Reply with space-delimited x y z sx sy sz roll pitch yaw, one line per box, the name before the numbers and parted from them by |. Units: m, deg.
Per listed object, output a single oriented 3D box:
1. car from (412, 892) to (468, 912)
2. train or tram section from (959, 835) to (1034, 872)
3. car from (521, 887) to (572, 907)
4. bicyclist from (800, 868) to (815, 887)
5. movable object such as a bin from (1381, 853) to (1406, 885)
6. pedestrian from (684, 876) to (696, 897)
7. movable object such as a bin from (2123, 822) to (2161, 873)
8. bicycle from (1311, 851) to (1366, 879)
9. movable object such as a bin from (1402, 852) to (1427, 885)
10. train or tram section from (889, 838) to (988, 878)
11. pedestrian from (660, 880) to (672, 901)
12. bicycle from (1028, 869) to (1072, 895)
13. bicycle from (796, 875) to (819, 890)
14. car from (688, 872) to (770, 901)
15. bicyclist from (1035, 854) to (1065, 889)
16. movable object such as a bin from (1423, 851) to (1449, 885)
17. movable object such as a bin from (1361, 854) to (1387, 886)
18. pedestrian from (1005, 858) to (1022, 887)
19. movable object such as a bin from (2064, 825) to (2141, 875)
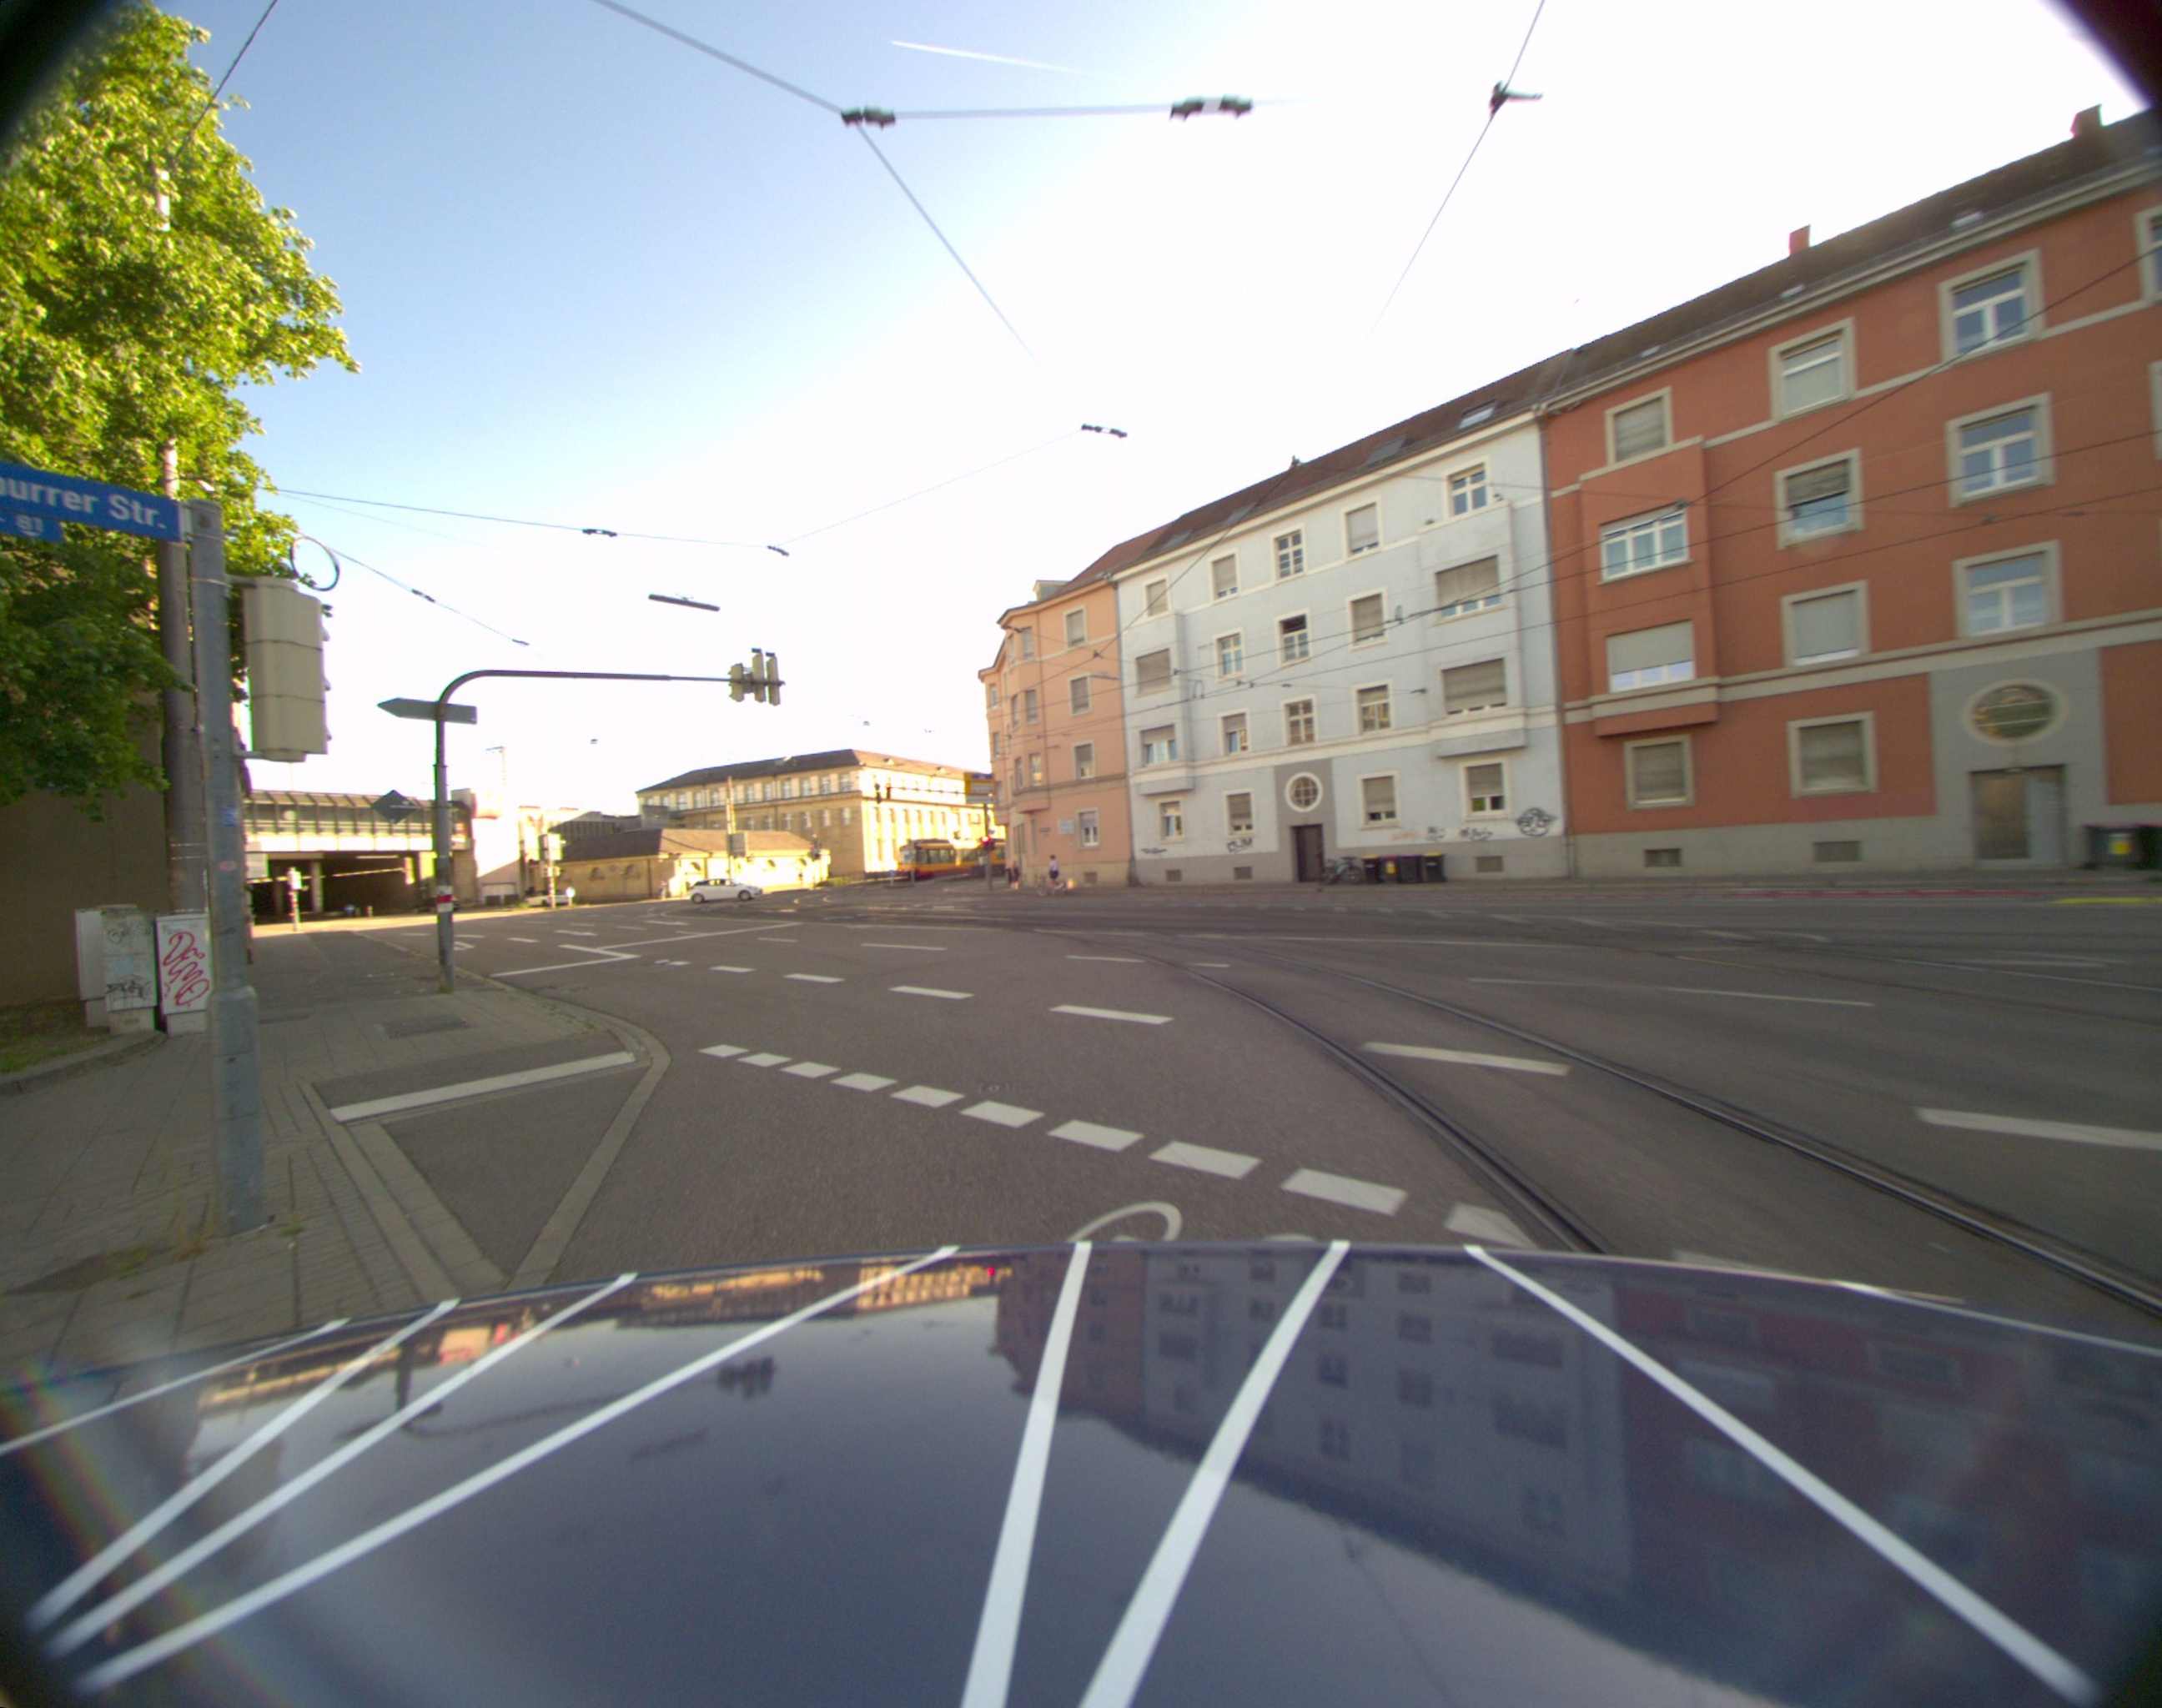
car | -55.459 4.136 65.713 4.487 1.447 1.931 -3 0 26
train or tram section | -9.019 -0.149 82.987 3.159 3.337 10.693 -3 1 22
car | -41.469 3.350 58.946 3.526 1.367 1.734 -3 0 27
bicyclist | -24.168 2.058 67.108 0.676 1.630 0.940 -3 2 17
movable object such as a bin | 11.327 0.555 27.532 0.581 1.100 0.705 -3 1 43
pedestrian | -31.179 2.570 60.588 0.625 1.630 0.489 -4 1 -5
movable object such as a bin | 23.182 -0.155 16.269 0.809 1.034 0.847 -3 1 39
bicycle | 9.816 0.432 28.998 1.872 0.974 0.608 -3 2 43
movable object such as a bin | 11.877 0.515 27.057 0.581 1.100 0.705 -3 1 43
train or tram section | -13.259 0.232 72.551 3.161 3.301 11.834 -3 0 22
pedestrian | -33.449 2.945 61.212 0.625 1.630 0.514 -4 1 -5
bicycle | -1.485 1.338 36.368 2.146 1.184 0.750 -3 1 44
bicycle | -24.142 2.498 67.125 0.684 1.130 2.076 -3 2 17
car | -20.853 1.907 45.174 4.106 1.386 1.790 -4 0 -14
bicyclist | -1.487 0.844 36.350 1.123 1.633 0.750 -3 1 44
movable object such as a bin | 12.383 0.488 26.478 0.581 1.100 0.705 -3 1 43
movable object such as a bin | 10.807 0.587 28.018 0.647 1.100 0.705 -3 1 43
pedestrian | -3.761 1.019 42.020 0.678 1.554 0.719 -4 1 -20
movable object such as a bin | 22.518 -0.099 16.769 0.809 1.034 0.847 -3 1 39
